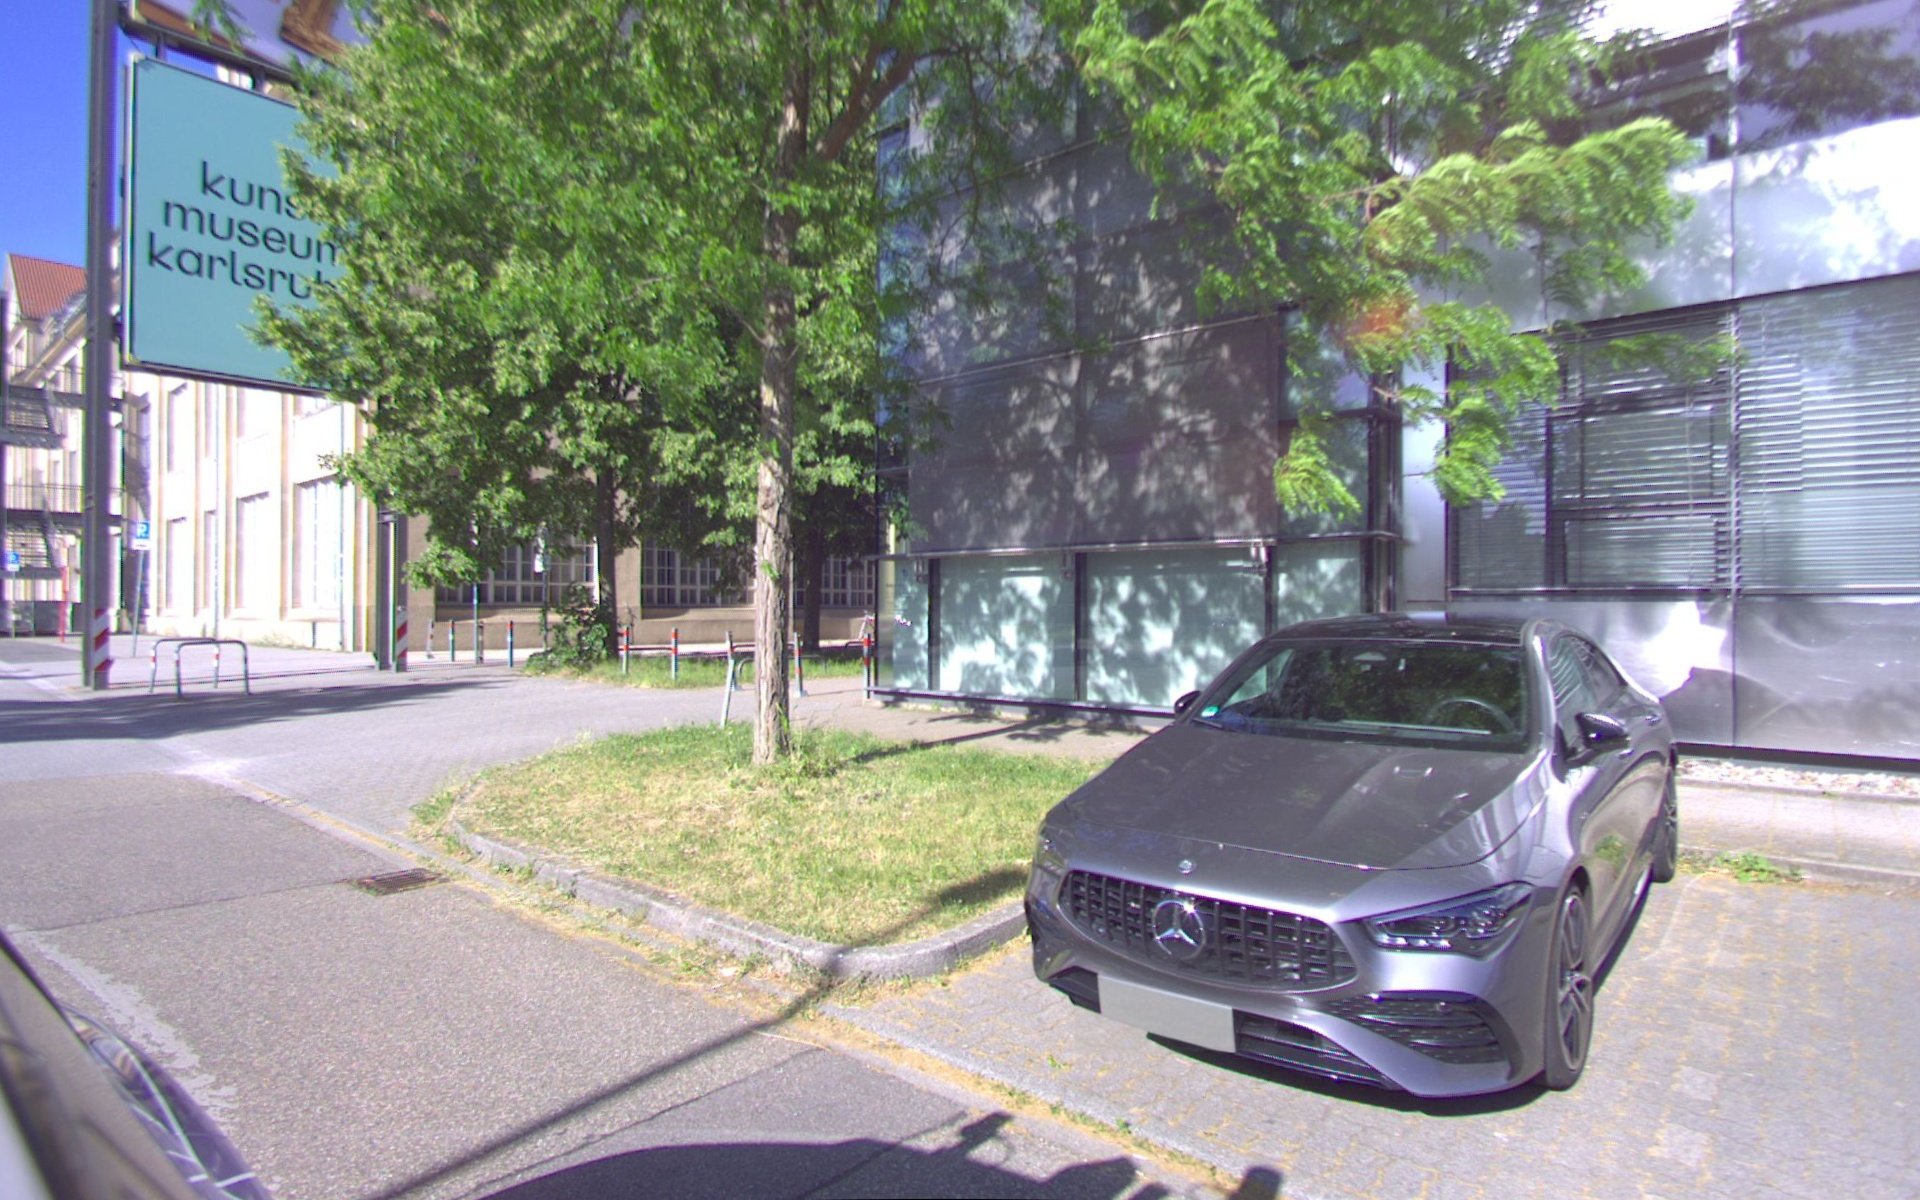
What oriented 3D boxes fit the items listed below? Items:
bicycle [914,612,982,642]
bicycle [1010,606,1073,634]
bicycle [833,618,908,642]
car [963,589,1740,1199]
[{"bbox_3d":[-0.484,1.019,38.864,2.805,1.071,0.710,0,0,38],"label":"bicycle"},{"bbox_3d":[3.547,0.868,44.123,2.805,1.159,0.710,-1,-1,37],"label":"bicycle"},{"bbox_3d":[-3.285,1.090,37.280,2.839,0.798,0.782,0,0,-41],"label":"bicycle"},{"bbox_3d":[2.191,0.701,4.570,1.891,1.360,4.488,0,2,41],"label":"car"}]
